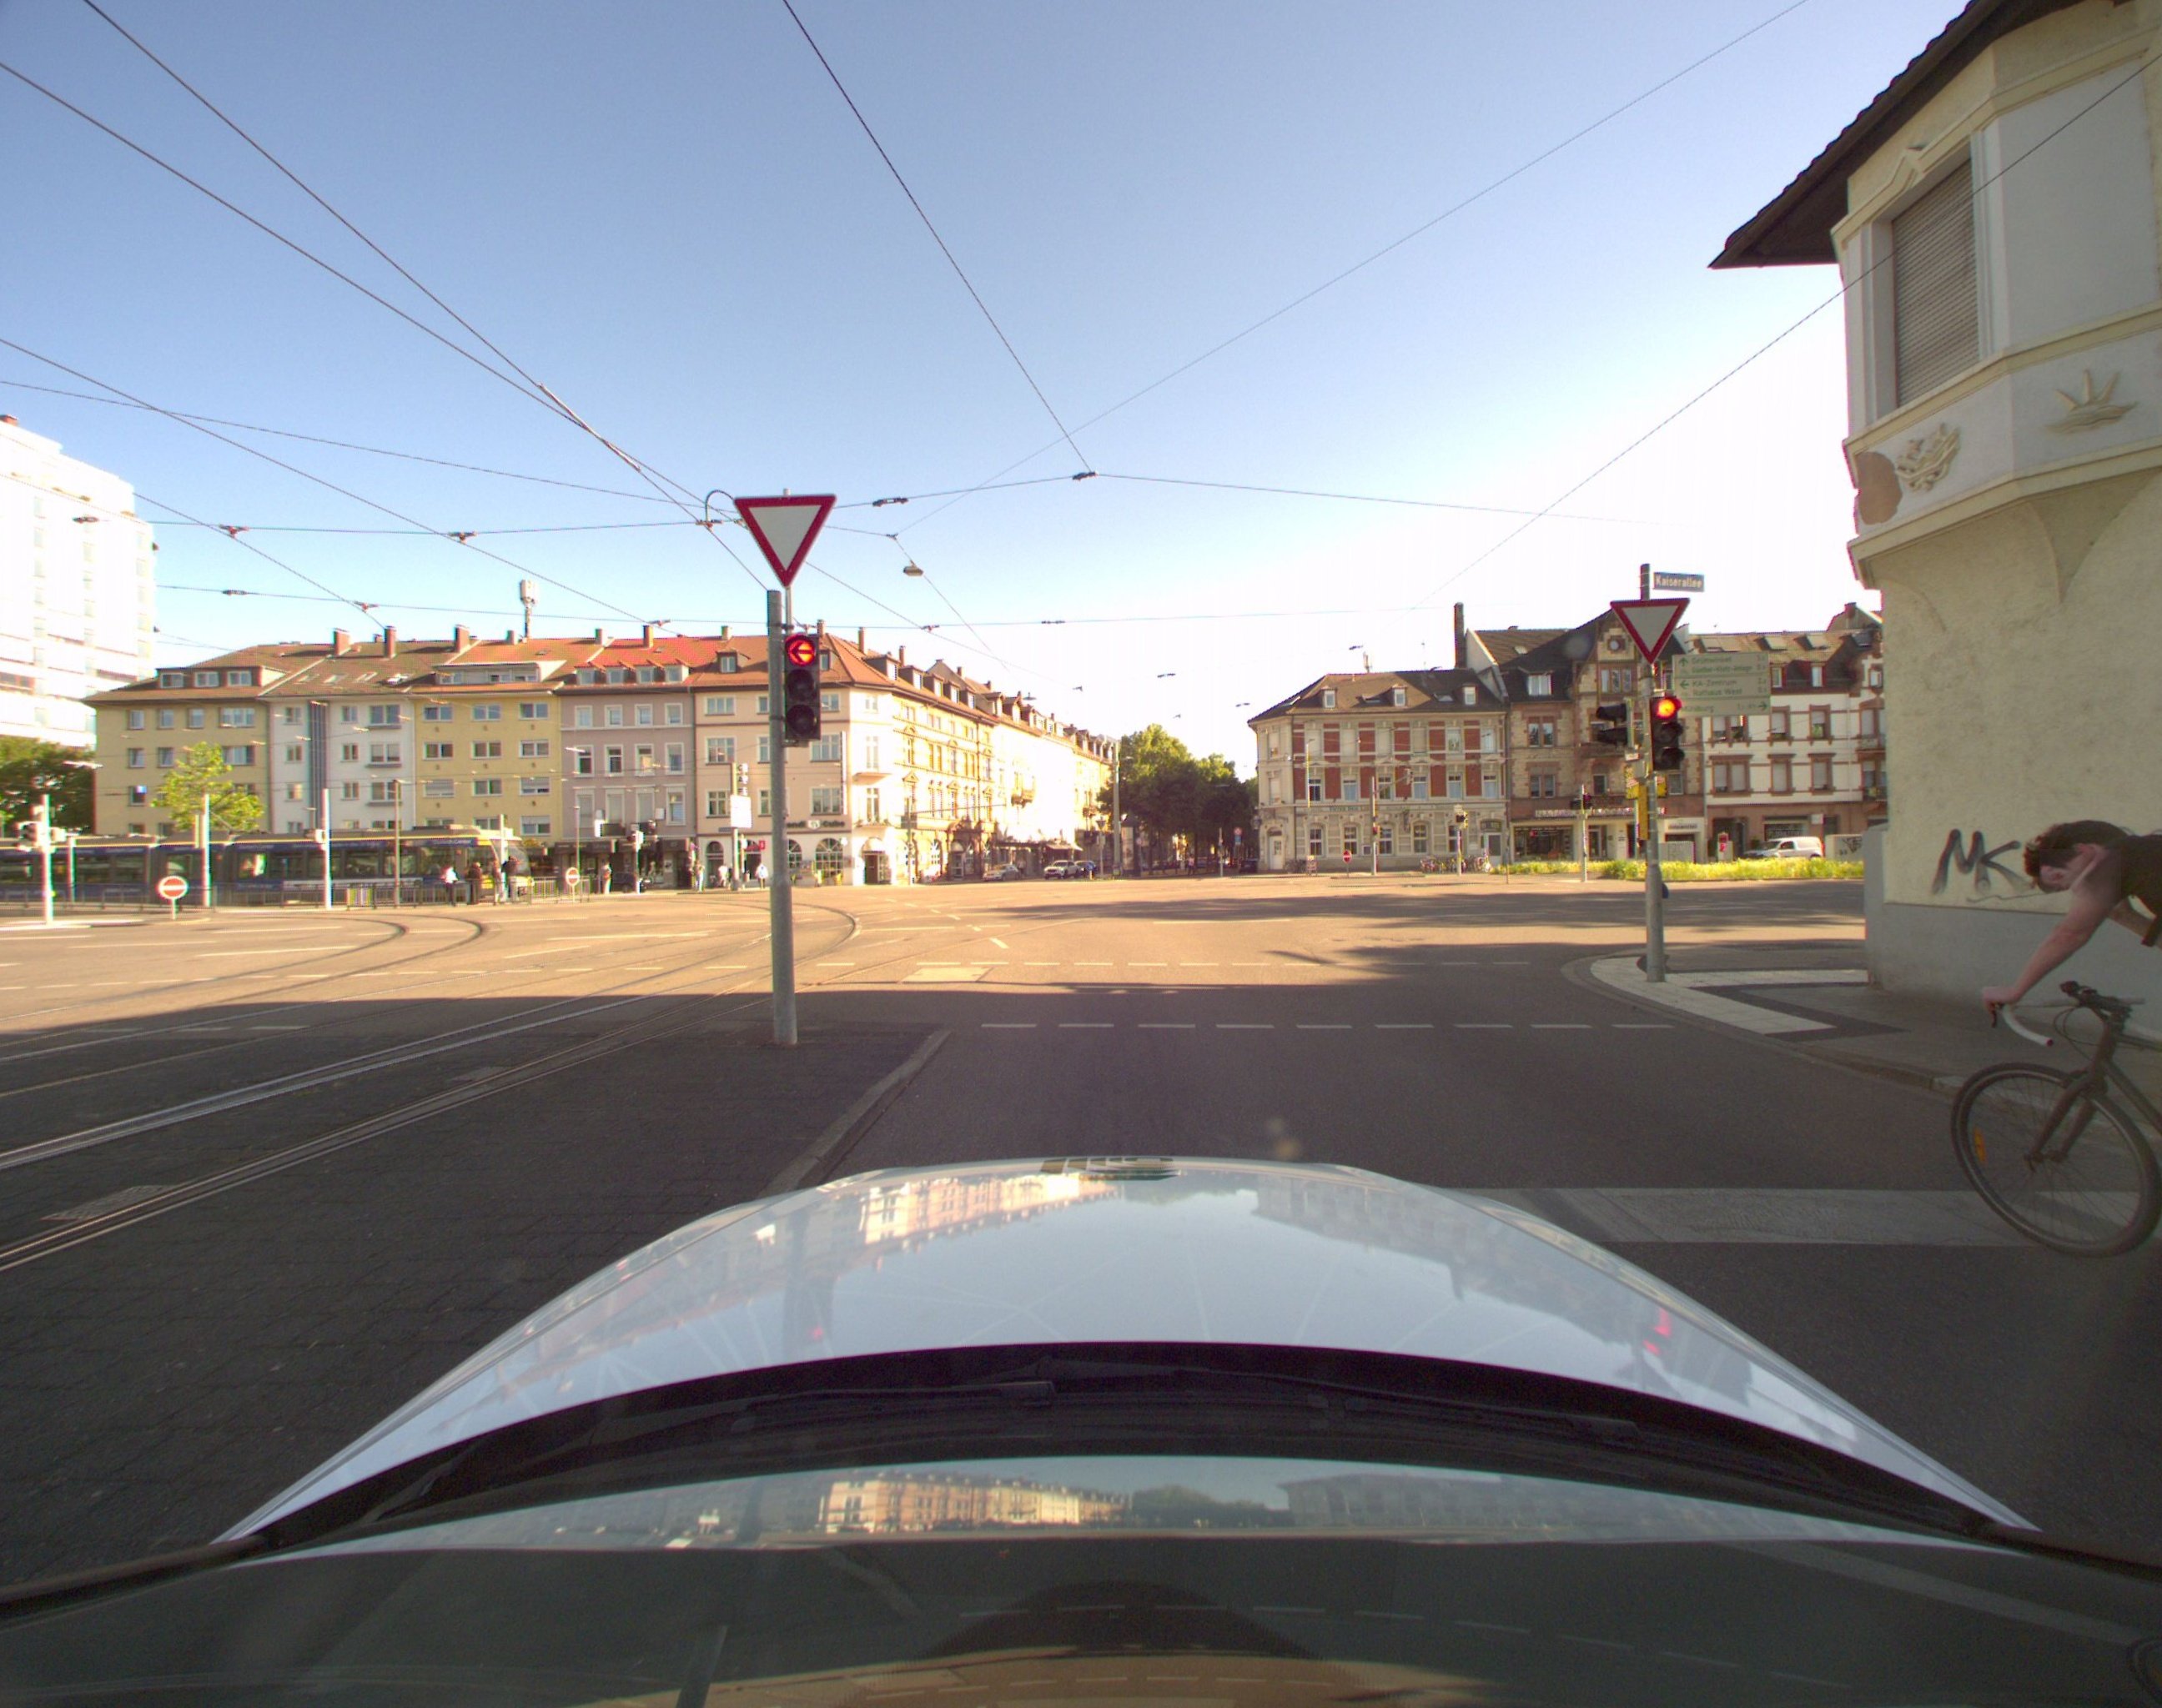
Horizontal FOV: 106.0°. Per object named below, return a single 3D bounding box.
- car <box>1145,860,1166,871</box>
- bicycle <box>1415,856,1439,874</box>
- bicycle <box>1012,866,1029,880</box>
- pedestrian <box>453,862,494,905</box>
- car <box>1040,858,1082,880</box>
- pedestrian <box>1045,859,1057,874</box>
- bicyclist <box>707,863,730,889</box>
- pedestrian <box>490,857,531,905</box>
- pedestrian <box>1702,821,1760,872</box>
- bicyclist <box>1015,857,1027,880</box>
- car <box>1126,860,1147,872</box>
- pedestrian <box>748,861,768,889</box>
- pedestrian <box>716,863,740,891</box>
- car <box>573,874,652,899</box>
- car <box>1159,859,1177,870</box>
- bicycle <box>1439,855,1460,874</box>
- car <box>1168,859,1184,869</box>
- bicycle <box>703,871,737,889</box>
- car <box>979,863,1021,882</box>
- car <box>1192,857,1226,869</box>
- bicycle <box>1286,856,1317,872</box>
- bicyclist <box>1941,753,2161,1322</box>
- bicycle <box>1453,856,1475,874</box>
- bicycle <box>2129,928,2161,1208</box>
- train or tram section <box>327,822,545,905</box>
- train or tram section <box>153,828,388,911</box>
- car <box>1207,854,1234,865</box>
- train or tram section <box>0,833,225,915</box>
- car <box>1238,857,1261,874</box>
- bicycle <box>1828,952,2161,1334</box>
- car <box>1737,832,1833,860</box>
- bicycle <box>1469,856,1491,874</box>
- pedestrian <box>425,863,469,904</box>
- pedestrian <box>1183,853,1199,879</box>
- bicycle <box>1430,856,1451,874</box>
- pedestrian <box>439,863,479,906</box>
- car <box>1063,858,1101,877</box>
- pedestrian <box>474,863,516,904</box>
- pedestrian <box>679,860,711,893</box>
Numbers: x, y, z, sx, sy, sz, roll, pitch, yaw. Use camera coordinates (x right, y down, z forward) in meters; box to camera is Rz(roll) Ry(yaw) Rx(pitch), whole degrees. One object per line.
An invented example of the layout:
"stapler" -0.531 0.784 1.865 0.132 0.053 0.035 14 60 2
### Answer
"car" 11.258 1.729 122.593 1.977 1.612 4.413 -2 0 20
"bicycle" 22.500 0.700 52.979 0.802 1.143 2.178 -2 0 7
"bicycle" -4.816 1.510 65.288 0.675 1.066 2.133 -2 0 14
"pedestrian" -23.174 1.119 31.066 0.996 1.598 0.947 -2 0 34
"car" -1.607 1.249 67.531 1.977 1.684 4.413 -2 0 20
"pedestrian" -3.224 1.354 87.262 0.921 1.535 1.142 -2 0 16
"bicyclist" -25.341 1.524 56.936 1.161 1.775 0.748 -1 0 0
"pedestrian" -22.025 1.036 31.447 0.996 1.775 0.947 -2 0 32
"pedestrian" 27.112 -0.306 33.992 1.314 2.044 1.307 -2 0 1
"bicyclist" -4.812 1.130 65.332 0.674 1.820 1.075 -2 0 14
"car" 7.536 1.666 110.974 1.978 1.486 4.017 -1 0 16
"pedestrian" -21.211 1.359 53.449 1.014 1.775 0.931 -1 -1 -35
"pedestrian" -23.004 1.502 53.097 0.998 1.775 0.945 -2 0 16
"car" -30.620 2.139 53.330 3.974 1.453 2.000 -1 0 -1
"car" 13.917 1.698 130.325 1.822 1.552 4.412 -2 0 19
"bicycle" 23.858 0.671 52.777 0.615 1.143 2.178 -2 0 7
"car" 15.835 1.718 136.159 1.750 1.549 4.411 -2 0 18
"bicycle" -25.254 1.841 57.004 2.083 1.181 0.631 -1 0 1
"car" -6.682 1.520 67.374 1.883 1.455 4.020 -2 0 20
"car" 18.102 1.306 115.165 4.335 1.612 2.012 -2 0 28
"bicycle" 15.500 0.722 57.182 2.081 1.124 0.366 0 -1 -3
"bicyclist" 3.597 0.561 2.586 0.559 1.754 1.102 -2 0 4
"bicycle" 24.778 0.710 52.681 0.615 1.143 2.178 -2 0 7
"bicycle" 4.532 0.858 2.438 0.516 1.116 1.815 -2 0 4
"train or tram section" -29.464 0.418 37.412 7.901 3.500 2.827 -1 0 4
"train or tram section" -37.544 0.711 37.898 8.396 3.500 2.827 -1 0 4
"car" 22.835 0.968 133.295 3.948 1.706 2.013 -2 0 32
"train or tram section" -47.610 0.956 38.155 11.949 3.500 2.779 -1 0 0
"car" 17.017 1.139 82.208 1.978 1.585 4.017 -2 0 16
"bicycle" 3.612 0.948 2.663 0.642 1.010 1.930 -2 0 4
"car" 45.358 -0.480 52.546 4.317 1.640 2.152 -2 0 1
"bicycle" 25.756 0.689 52.591 0.606 1.136 2.139 -2 0 7
"pedestrian" -25.305 1.180 32.509 0.998 1.598 0.946 -2 0 18
"pedestrian" 7.785 0.846 57.545 1.039 1.744 0.811 -1 0 10
"bicycle" 23.278 0.691 52.829 0.615 1.143 2.178 -2 0 7
"pedestrian" -24.116 1.163 31.589 0.996 1.598 0.947 -2 0 34
"car" 0.118 1.216 74.009 1.977 1.612 4.413 -2 0 20
"pedestrian" -23.240 1.163 32.299 0.997 1.598 0.946 -2 0 22
"pedestrian" -20.129 1.151 42.457 1.076 1.685 1.104 -2 0 1
